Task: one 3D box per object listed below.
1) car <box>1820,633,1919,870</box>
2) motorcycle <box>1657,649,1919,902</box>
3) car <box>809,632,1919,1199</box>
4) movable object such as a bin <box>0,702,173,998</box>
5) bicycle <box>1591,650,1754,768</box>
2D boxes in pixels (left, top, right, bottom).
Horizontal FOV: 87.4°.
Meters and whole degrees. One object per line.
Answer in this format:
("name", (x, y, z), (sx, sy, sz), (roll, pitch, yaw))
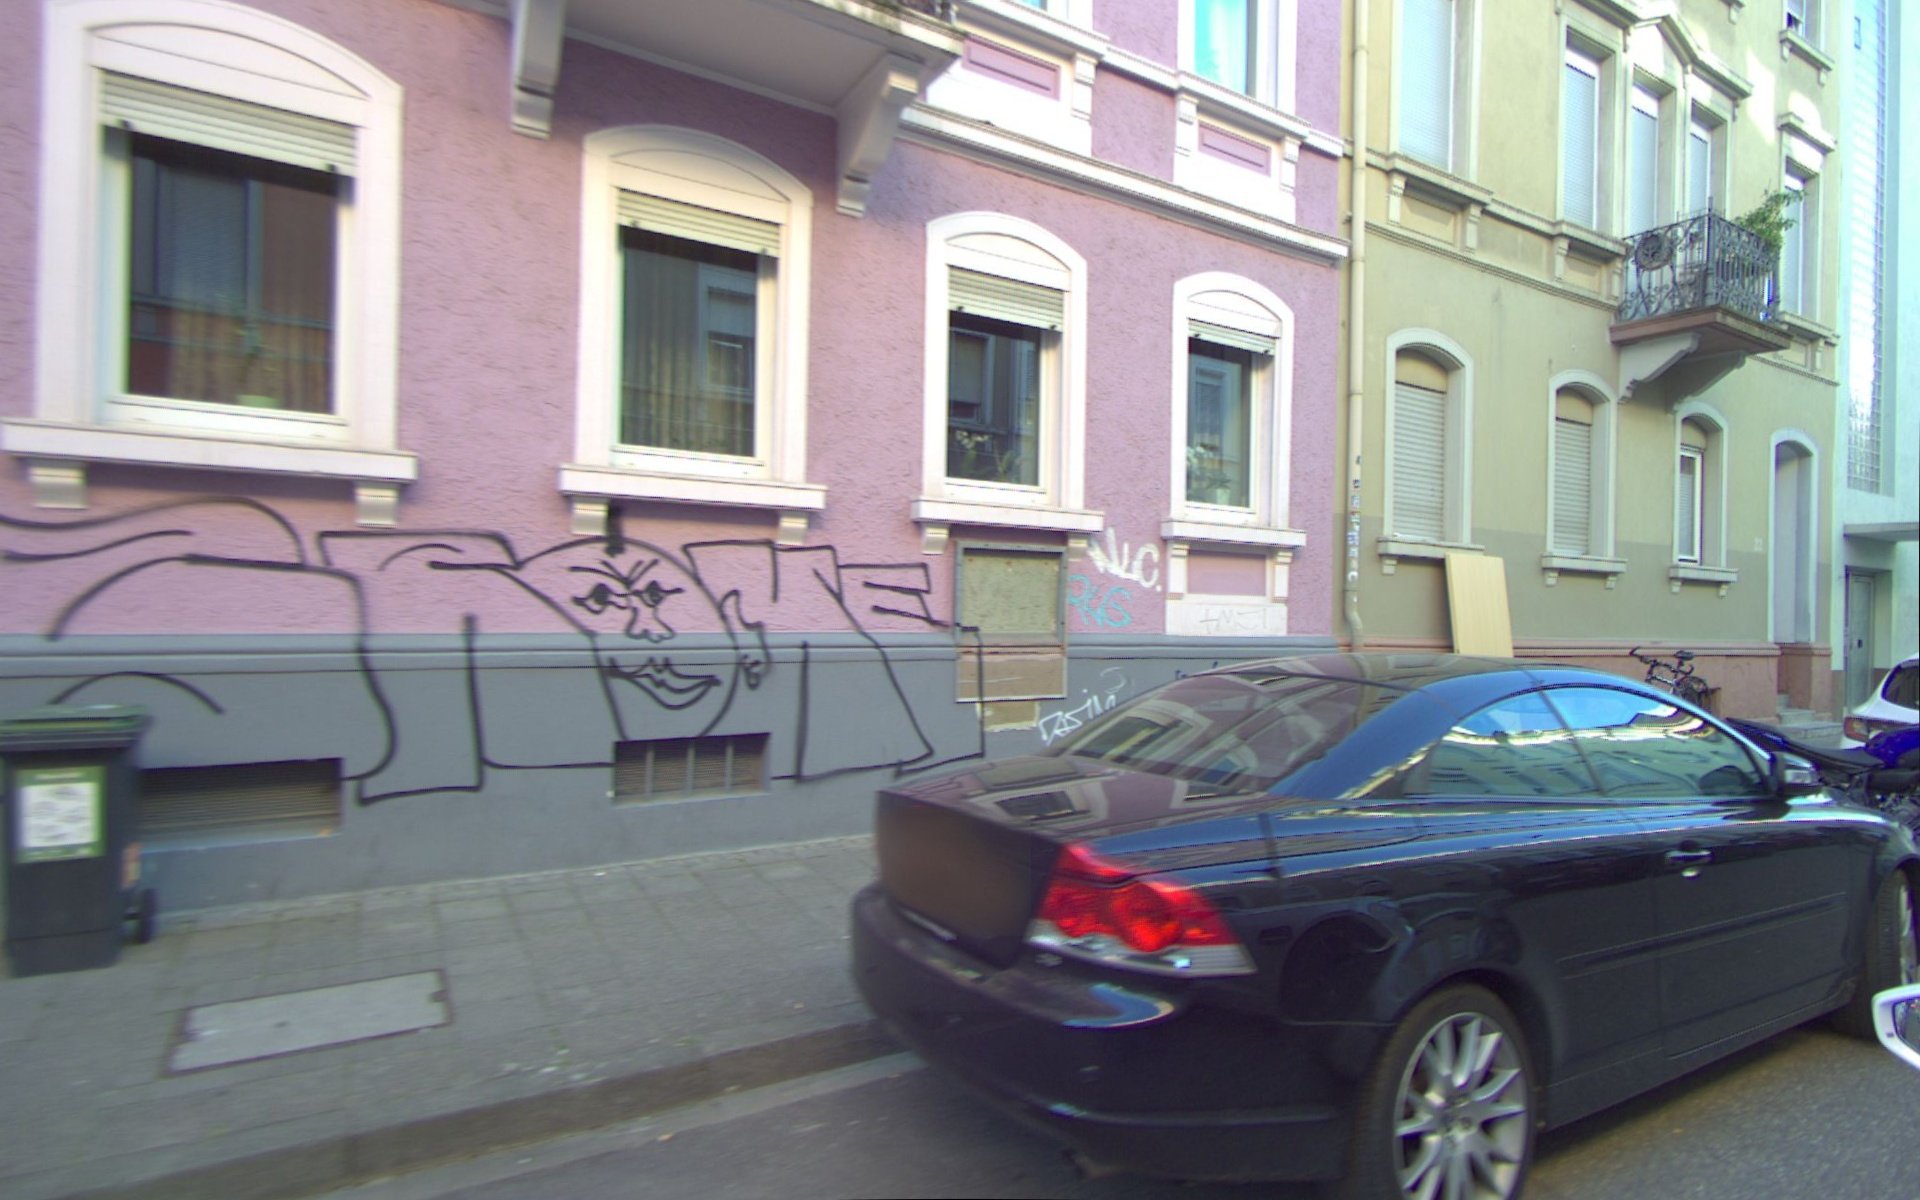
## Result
("car", (7.846, 0.980, 7.023), (4.120, 1.460, 1.663), (2, -4, -33))
("motorcycle", (5.383, 0.982, 5.810), (2.123, 1.377, 0.537), (-4, -4, 42))
("car", (1.782, 0.853, 3.606), (4.302, 1.402, 1.703), (0, -1, -29))
("movable object such as a bin", (-3.304, 0.889, 3.744), (0.481, 0.957, 0.541), (2, 0, -30))
("bicycle", (7.429, 1.096, 10.443), (2.055, 1.103, 0.589), (2, 0, -31))
